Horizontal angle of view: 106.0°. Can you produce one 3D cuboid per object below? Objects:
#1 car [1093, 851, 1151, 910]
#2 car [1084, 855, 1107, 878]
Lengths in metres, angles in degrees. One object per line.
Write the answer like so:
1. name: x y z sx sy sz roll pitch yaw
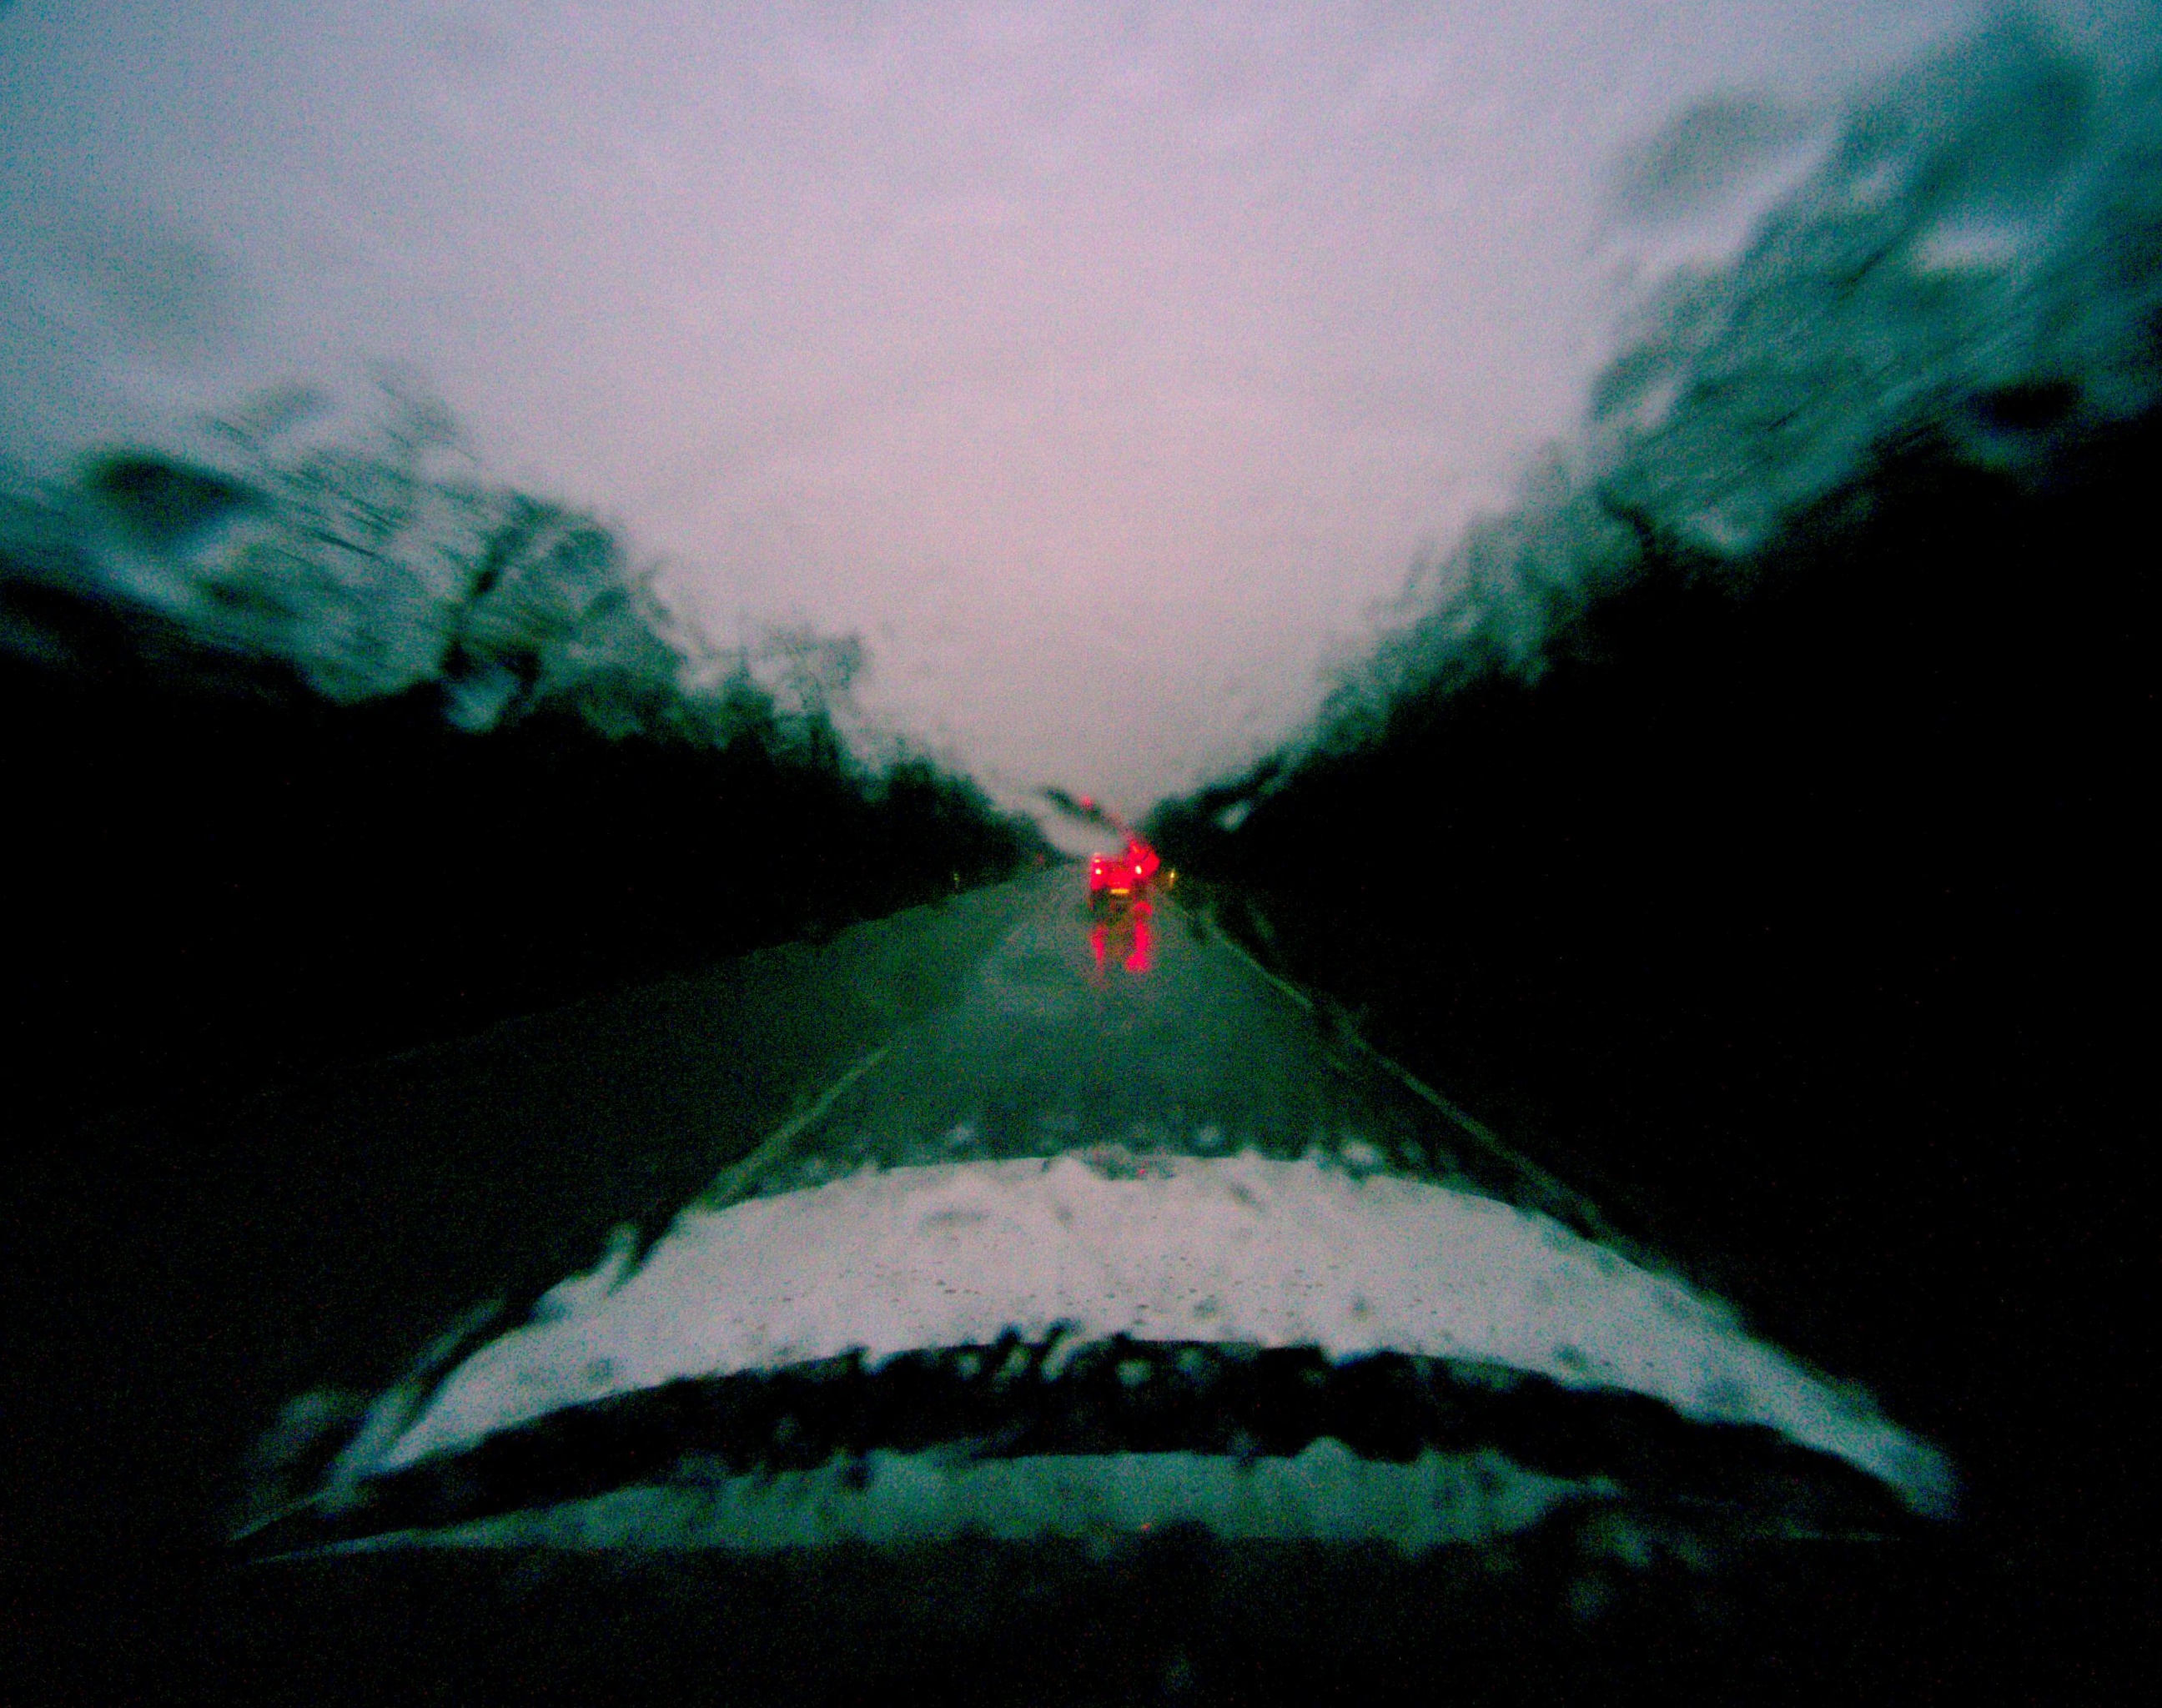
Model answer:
1. car: 1.222 0.775 24.919 1.642 1.672 3.515 0 0 2
2. car: 1.171 0.965 64.780 1.727 1.779 4.001 0 0 1
